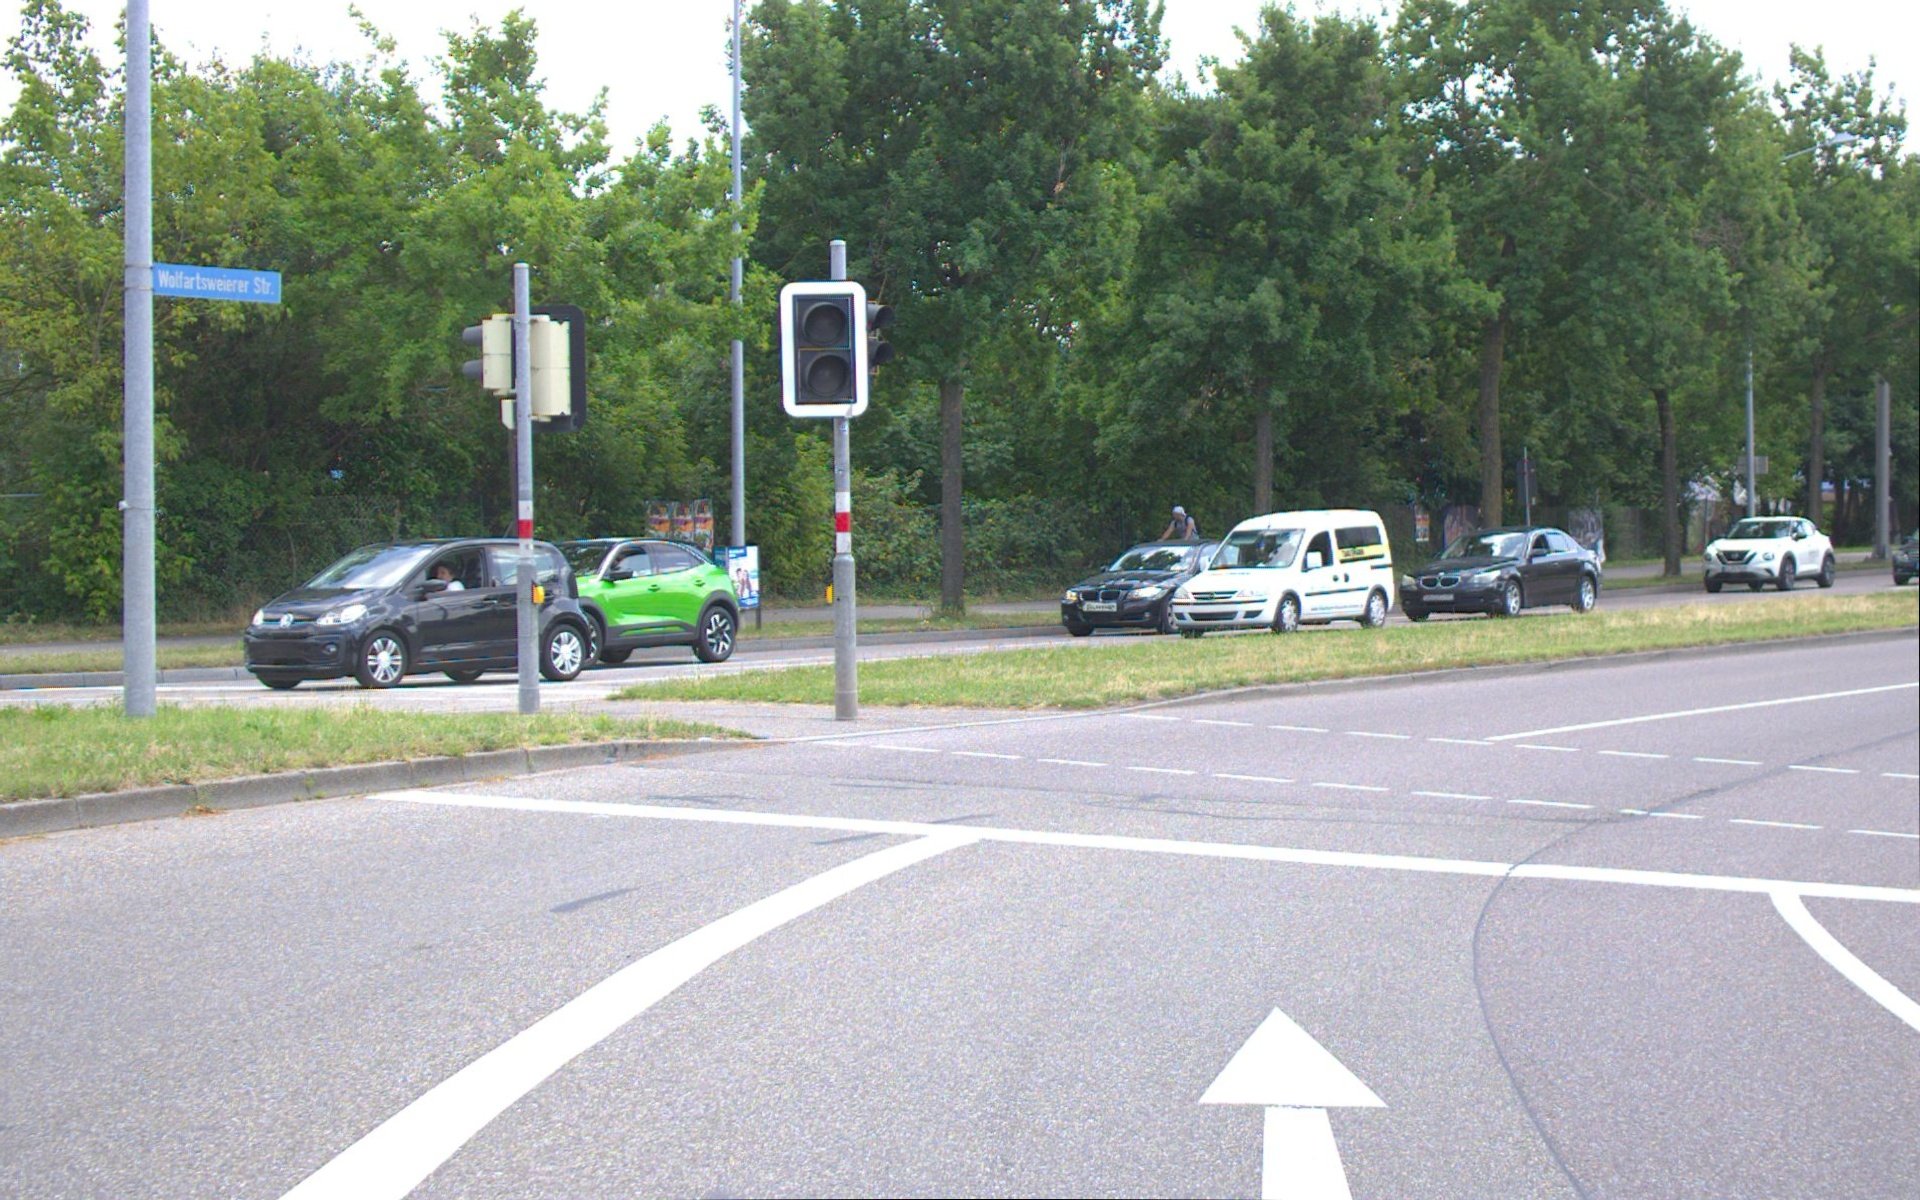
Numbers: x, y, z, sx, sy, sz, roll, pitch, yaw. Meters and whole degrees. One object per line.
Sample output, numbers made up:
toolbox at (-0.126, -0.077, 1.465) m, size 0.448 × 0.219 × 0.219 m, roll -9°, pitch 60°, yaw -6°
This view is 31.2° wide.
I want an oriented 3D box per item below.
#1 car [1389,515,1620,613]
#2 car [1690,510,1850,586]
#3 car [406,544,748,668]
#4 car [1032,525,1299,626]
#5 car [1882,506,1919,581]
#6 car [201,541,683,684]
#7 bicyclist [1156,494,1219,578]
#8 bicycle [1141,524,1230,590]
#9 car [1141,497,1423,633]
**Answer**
car at (8.791, -0.598, 55.198) m, size 1.841 × 1.475 × 4.744 m, roll -1°, pitch 0°, yaw 34°
car at (17.240, -1.121, 73.053) m, size 1.913 × 1.535 × 4.360 m, roll 0°, pitch 1°, yaw 33°
car at (-4.405, 0.043, 40.075) m, size 1.619 × 1.343 × 4.163 m, roll -1°, pitch 0°, yaw 34°
car at (3.147, -0.385, 51.848) m, size 1.842 × 1.438 × 4.410 m, roll -1°, pitch 0°, yaw 38°
car at (21.791, -1.260, 75.069) m, size 1.725 × 1.585 × 5.004 m, roll 0°, pitch 1°, yaw 33°
car at (-5.074, 0.095, 34.268) m, size 1.842 × 1.306 × 4.777 m, roll -1°, pitch 0°, yaw 38°
bicyclist at (4.349, -1.228, 65.704) m, size 0.831 × 1.559 × 0.882 m, roll 3°, pitch 3°, yaw 33°
bicycle at (4.319, -0.833, 65.690) m, size 0.762 × 1.215 × 2.013 m, roll 3°, pitch 3°, yaw 33°
car at (4.596, -0.509, 48.386) m, size 1.841 × 1.793 × 4.778 m, roll -1°, pitch 0°, yaw 34°
